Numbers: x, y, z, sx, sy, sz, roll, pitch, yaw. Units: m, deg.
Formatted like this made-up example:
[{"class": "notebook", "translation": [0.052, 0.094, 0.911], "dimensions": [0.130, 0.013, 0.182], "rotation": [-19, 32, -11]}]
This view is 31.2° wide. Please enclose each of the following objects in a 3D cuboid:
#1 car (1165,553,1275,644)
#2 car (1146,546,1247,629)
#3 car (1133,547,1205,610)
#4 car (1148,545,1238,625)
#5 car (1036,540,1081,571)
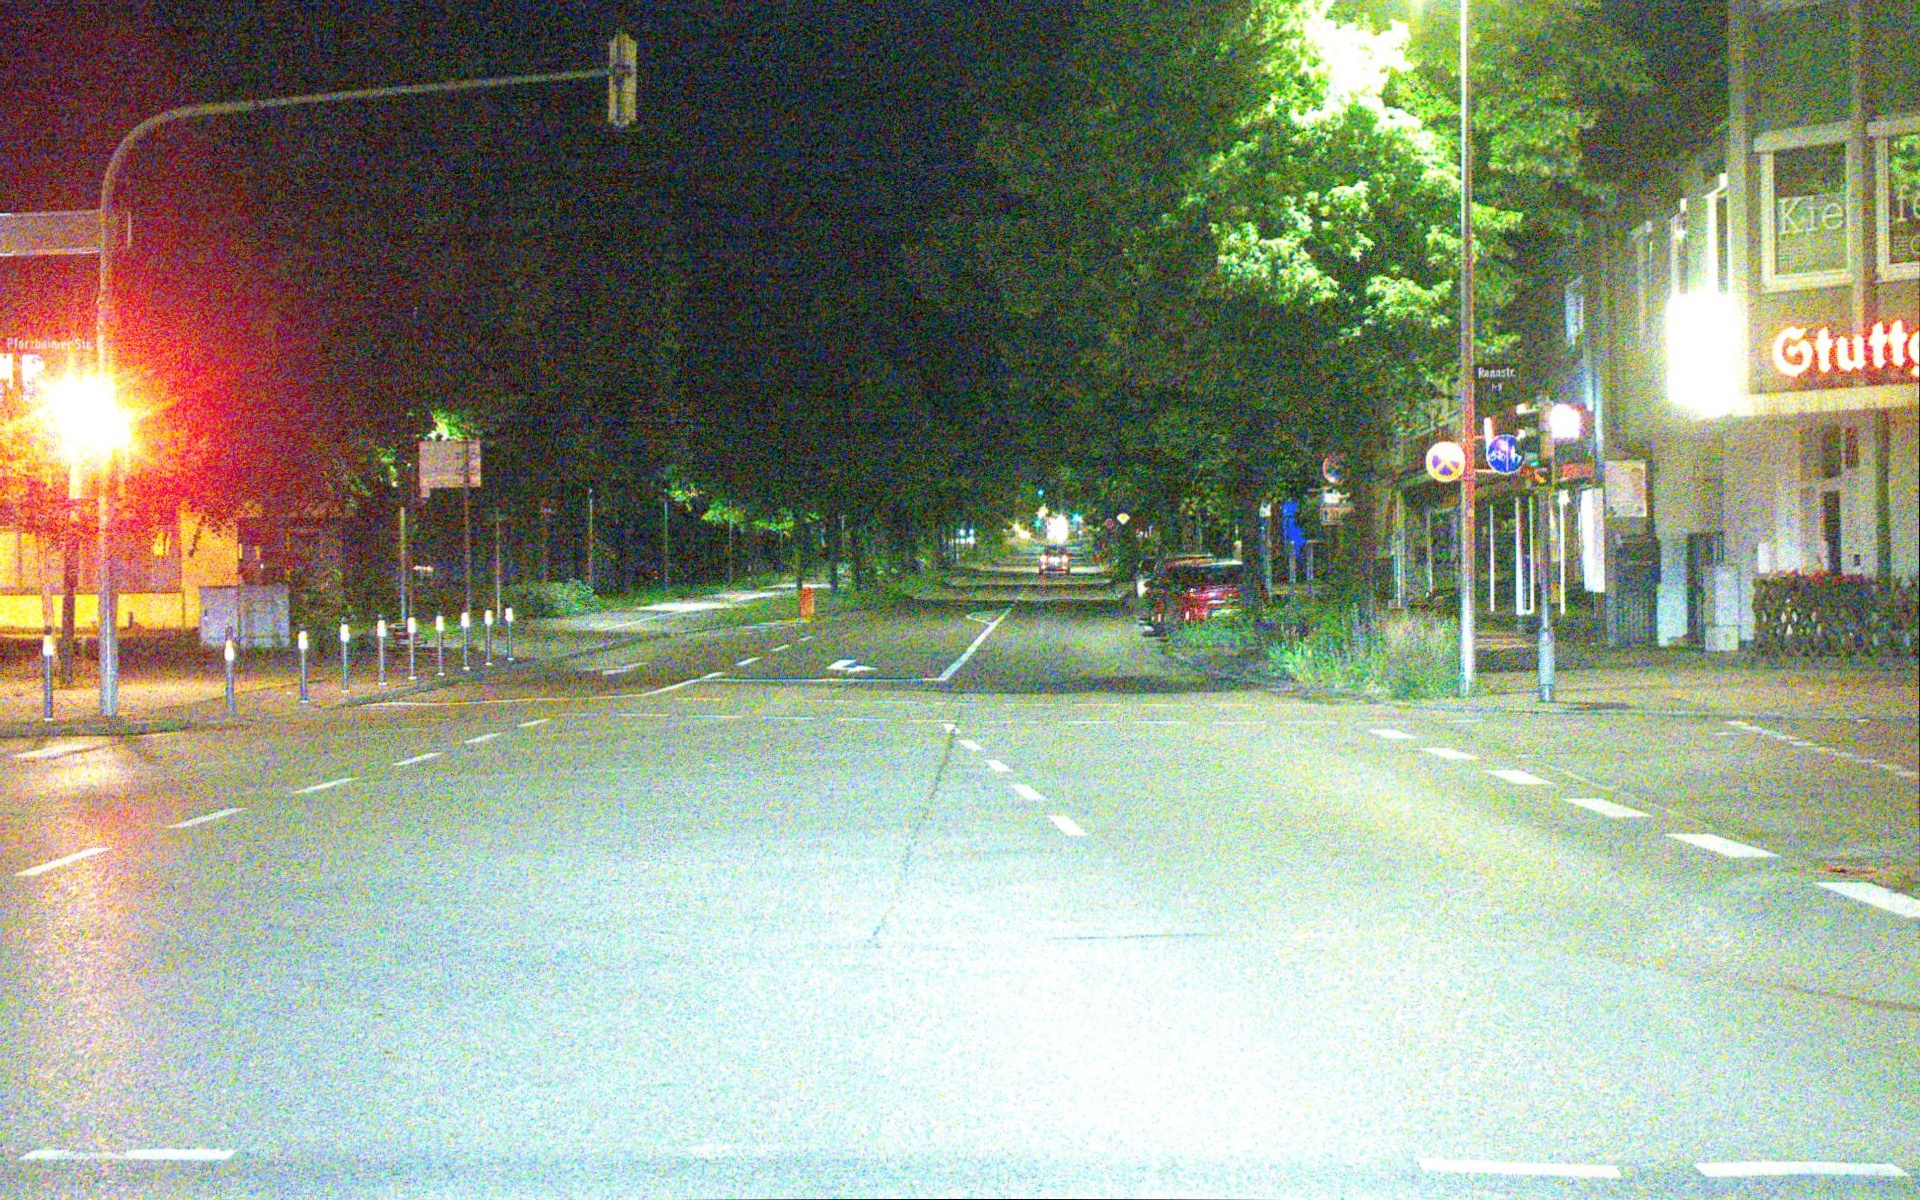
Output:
[{"class": "car", "translation": [4.787, -0.049, 63.613], "dimensions": [1.876, 1.610, 4.000], "rotation": [0, 1, 2]}, {"class": "car", "translation": [4.703, -0.262, 68.798], "dimensions": [1.876, 1.610, 4.000], "rotation": [0, 1, 2]}, {"class": "car", "translation": [5.734, -0.597, 94.540], "dimensions": [1.876, 1.678, 4.000], "rotation": [0, 1, 2]}, {"class": "car", "translation": [5.162, -0.343, 76.469], "dimensions": [1.876, 1.723, 4.000], "rotation": [0, 1, 2]}, {"class": "car", "translation": [5.243, -2.392, 183.742], "dimensions": [2.227, 1.645, 4.000], "rotation": [0, 1, -1]}]
